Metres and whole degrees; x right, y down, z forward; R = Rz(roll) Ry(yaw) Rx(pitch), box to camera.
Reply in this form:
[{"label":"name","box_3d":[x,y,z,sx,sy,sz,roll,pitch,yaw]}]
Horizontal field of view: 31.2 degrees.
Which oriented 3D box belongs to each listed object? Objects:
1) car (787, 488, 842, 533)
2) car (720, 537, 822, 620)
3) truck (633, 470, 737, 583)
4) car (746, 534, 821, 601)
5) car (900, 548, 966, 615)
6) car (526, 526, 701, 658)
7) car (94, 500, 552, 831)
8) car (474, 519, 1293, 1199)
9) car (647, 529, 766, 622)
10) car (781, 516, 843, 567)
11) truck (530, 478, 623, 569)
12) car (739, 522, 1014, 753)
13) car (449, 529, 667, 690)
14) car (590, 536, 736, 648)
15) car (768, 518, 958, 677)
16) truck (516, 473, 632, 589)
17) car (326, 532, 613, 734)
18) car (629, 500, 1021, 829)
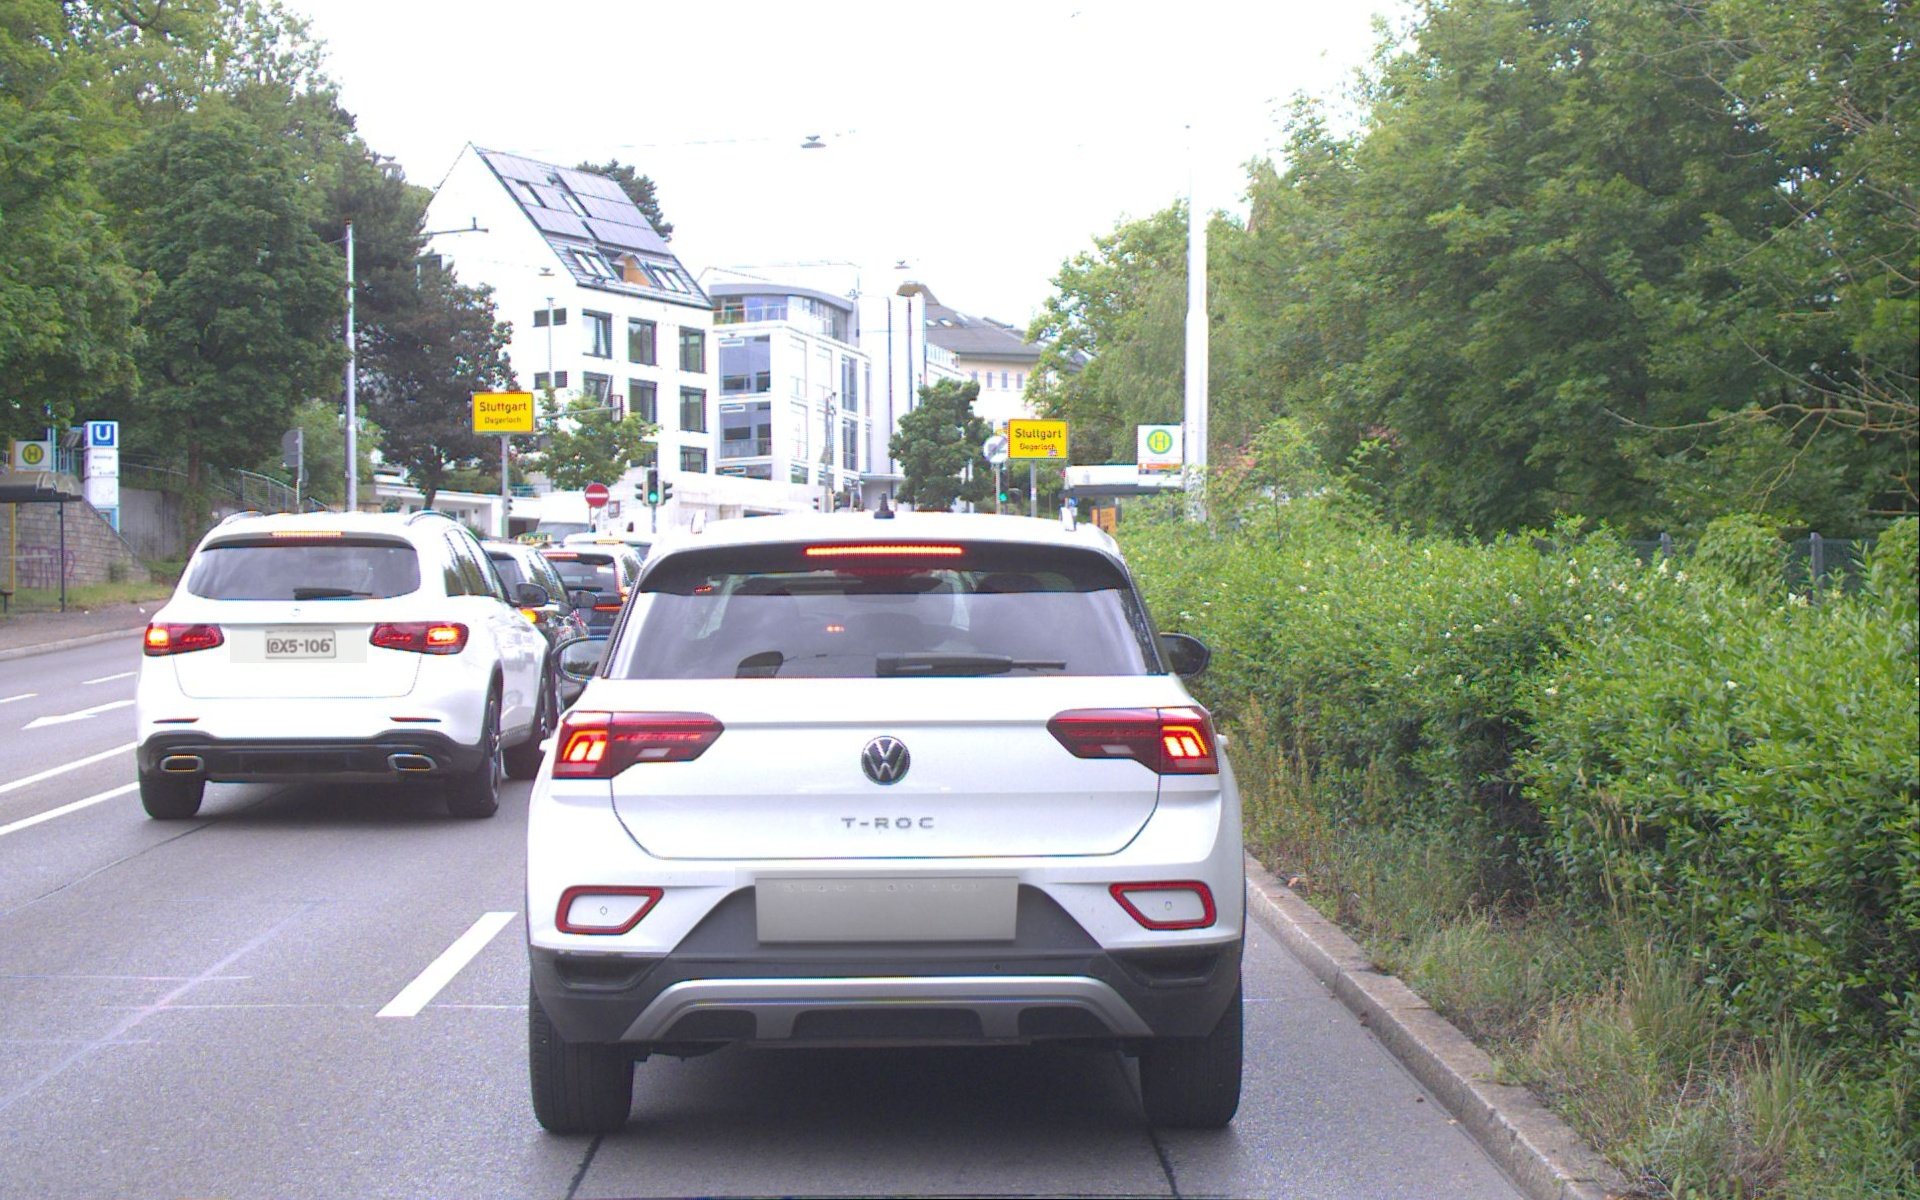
[{"label":"car","box_3d":[-5.084,-3.134,120.459,1.829,1.520,4.000,-1,1,-1]},{"label":"car","box_3d":[-3.665,-0.444,67.230,1.829,1.520,4.000,-1,1,-1]},{"label":"truck","box_3d":[-7.077,-1.913,88.976,2.362,2.772,4.478,-2,1,-1]},{"label":"car","box_3d":[-4.623,-0.872,90.533,1.815,1.651,3.929,-2,1,-1]},{"label":"car","box_3d":[-0.863,-0.611,108.343,1.993,2.007,4.000,-2,1,-1]},{"label":"car","box_3d":[-4.237,-0.133,42.583,1.829,1.520,4.000,-1,1,-1]},{"label":"car","box_3d":[-3.448,0.292,19.332,1.918,1.664,4.000,0,1,-1]},{"label":"car","box_3d":[-0.218,0.549,9.740,1.829,1.520,4.000,-1,1,-1]},{"label":"car","box_3d":[-4.358,-0.449,59.511,1.829,1.520,4.000,-1,1,-1]},{"label":"car","box_3d":[-4.584,-1.831,106.895,1.829,1.520,4.000,-1,1,-1]},{"label":"truck","box_3d":[-13.342,-2.650,119.978,2.293,3.040,6.979,-2,1,1]},{"label":"car","box_3d":[-0.612,0.215,25.243,1.829,1.520,4.000,-1,1,-1]},{"label":"car","box_3d":[-4.060,0.057,35.288,1.829,1.520,4.000,-1,1,-1]},{"label":"car","box_3d":[-4.276,-0.143,49.974,1.829,1.520,4.000,-1,1,-1]},{"label":"car","box_3d":[-0.999,-0.061,35.755,1.829,1.520,4.000,-1,1,-1]},{"label":"truck","box_3d":[-9.440,-1.688,84.355,2.362,2.697,4.478,-2,1,-1]},{"label":"car","box_3d":[-3.921,0.214,28.060,1.829,1.492,4.000,-1,1,-1]},{"label":"car","box_3d":[-0.686,0.267,18.311,1.829,1.520,4.000,-1,1,-1]}]
